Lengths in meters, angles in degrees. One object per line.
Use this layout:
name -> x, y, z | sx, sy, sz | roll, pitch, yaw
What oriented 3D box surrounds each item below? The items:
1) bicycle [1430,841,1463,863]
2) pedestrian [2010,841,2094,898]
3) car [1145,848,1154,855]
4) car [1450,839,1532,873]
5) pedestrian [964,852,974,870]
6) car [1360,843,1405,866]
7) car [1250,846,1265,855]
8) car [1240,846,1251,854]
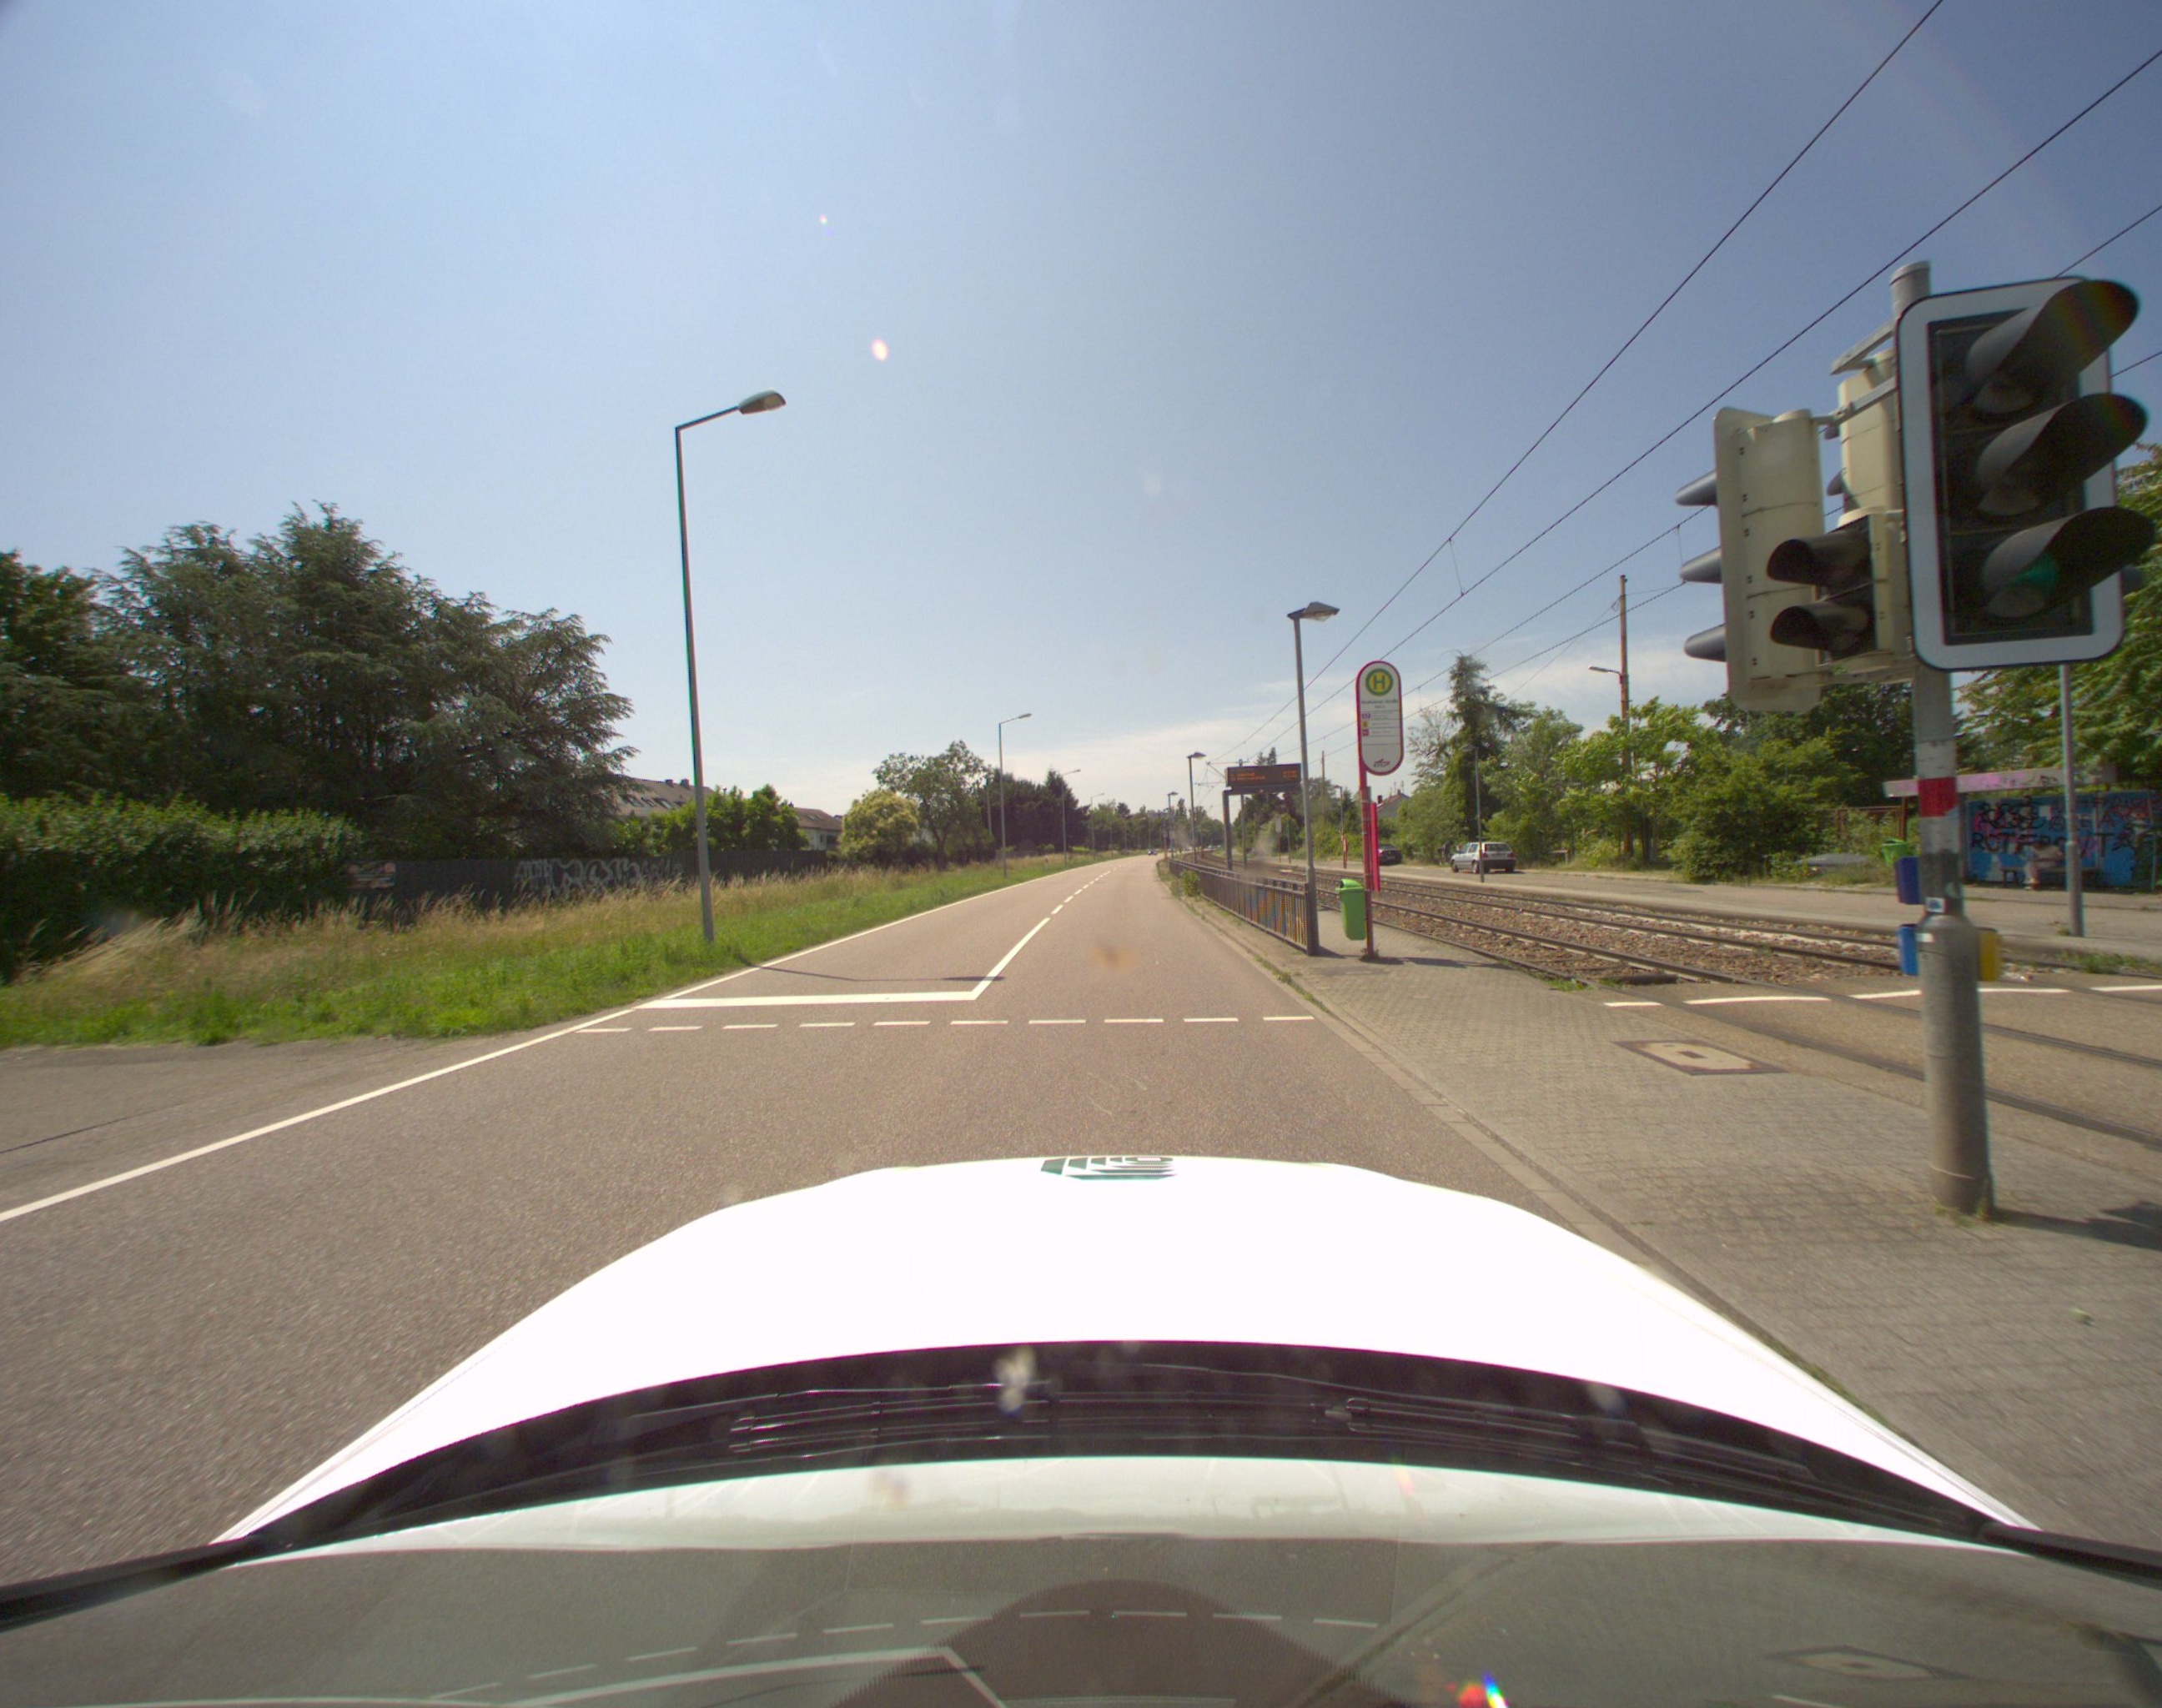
bicycle -> 22.158, -0.099, 49.437 | 0.706, 1.269, 1.664 | -3, 0, -30
pedestrian -> 19.474, 0.304, 16.351 | 0.803, 1.087, 0.721 | -2, 0, 11
car -> 15.414, -0.591, 182.721 | 1.697, 1.404, 4.716 | -1, 0, 7
car -> 18.573, 0.098, 37.134 | 1.930, 1.422, 4.004 | -1, 0, 4
pedestrian -> -9.214, 0.564, 67.072 | 0.606, 1.477, 0.634 | -1, 0, 6
car -> 20.626, 0.031, 55.870 | 1.612, 1.422, 4.879 | -1, 0, 5
car -> 27.254, -0.522, 125.802 | 1.851, 1.330, 4.522 | -1, 0, 6
car -> 32.052, -0.860, 158.678 | 1.903, 1.470, 4.009 | -1, 0, 8
